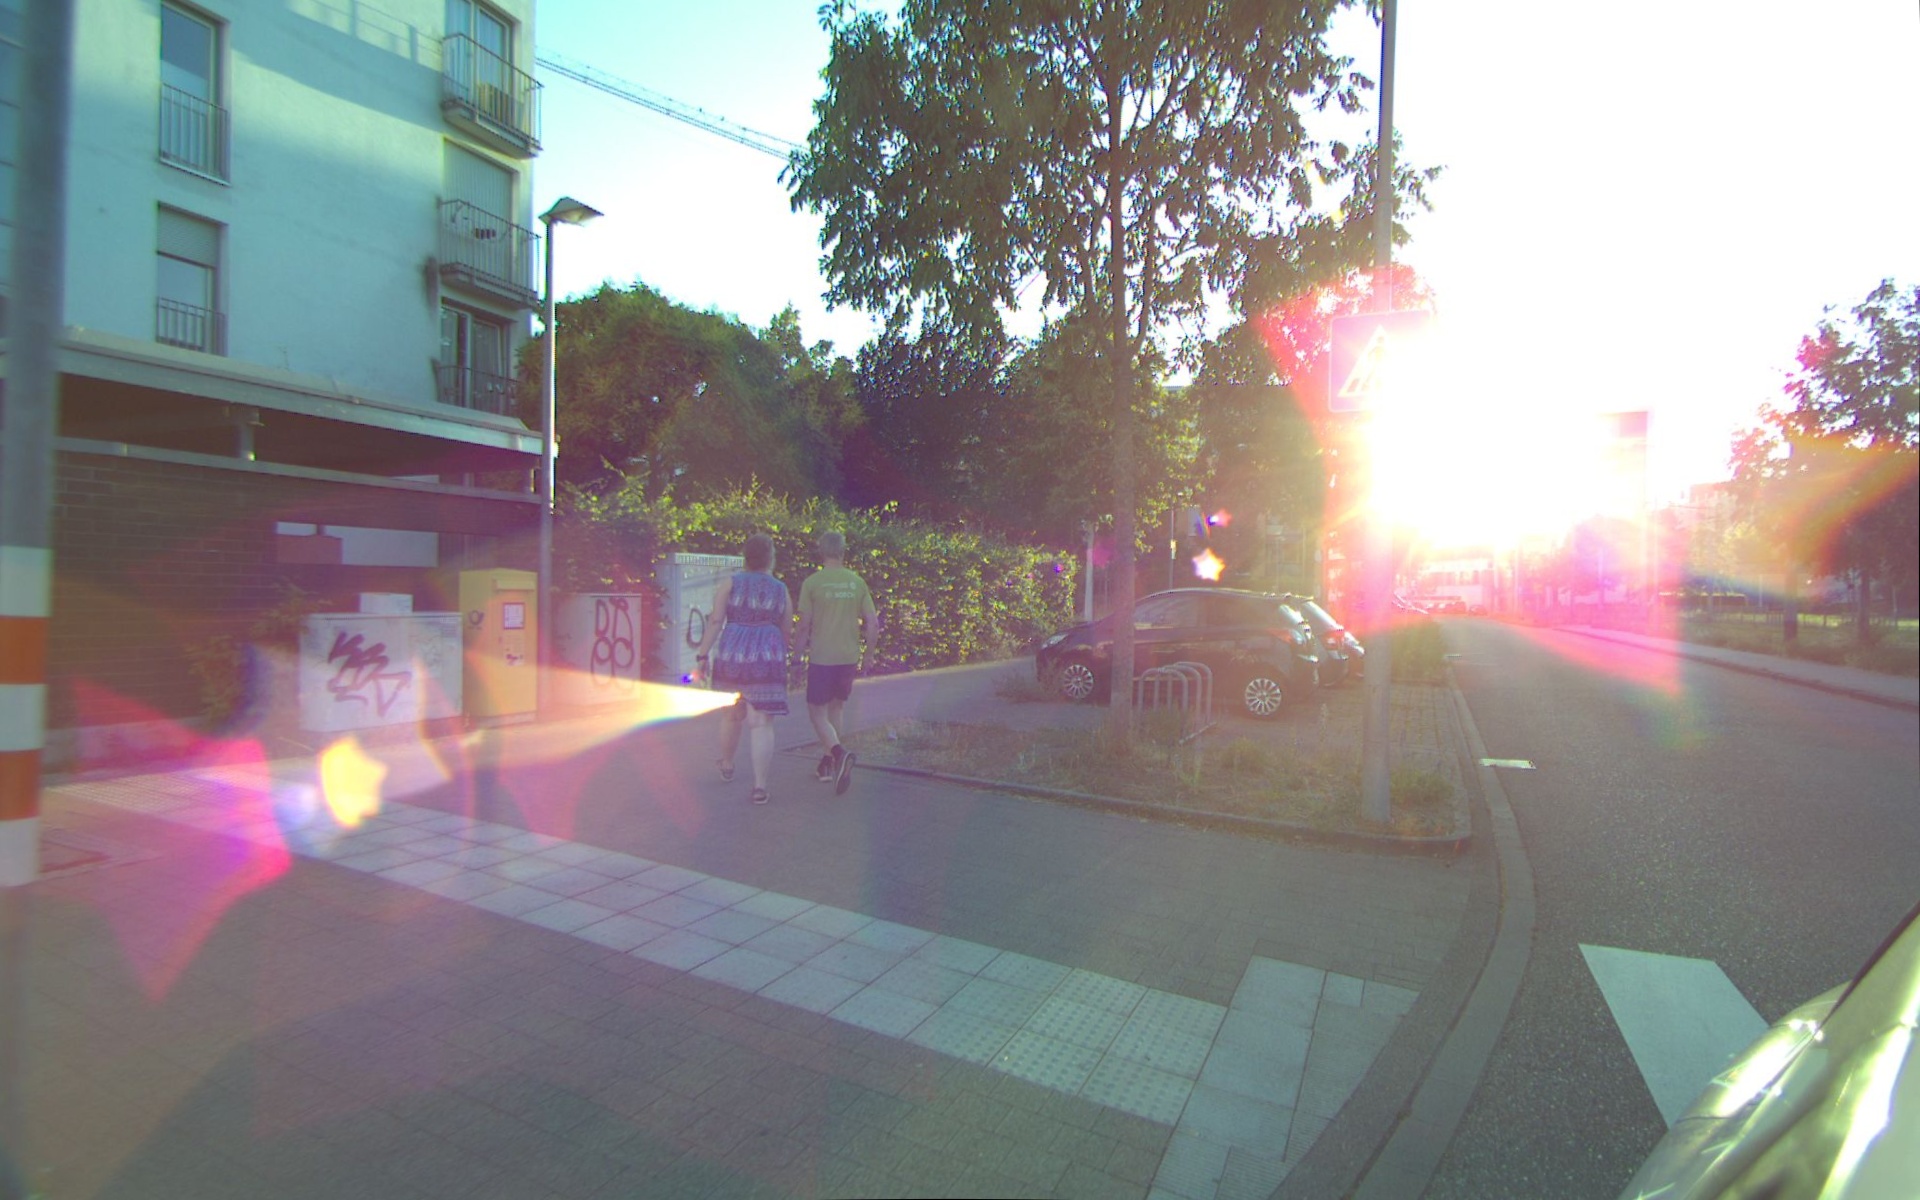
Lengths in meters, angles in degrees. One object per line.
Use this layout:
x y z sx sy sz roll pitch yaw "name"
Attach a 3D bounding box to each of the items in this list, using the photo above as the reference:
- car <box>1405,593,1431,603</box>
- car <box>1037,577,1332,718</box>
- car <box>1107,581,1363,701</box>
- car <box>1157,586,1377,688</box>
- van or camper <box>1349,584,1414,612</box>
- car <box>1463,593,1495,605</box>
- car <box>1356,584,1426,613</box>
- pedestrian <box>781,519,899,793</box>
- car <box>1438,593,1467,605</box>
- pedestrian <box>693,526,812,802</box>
72.465 -0.326 160.159 3.762 1.633 1.639 0 0 23 "car"
2.847 0.504 12.803 3.375 1.541 1.677 1 1 25 "car"
3.996 0.518 14.718 3.375 1.519 1.581 1 1 25 "car"
5.180 0.550 17.092 3.375 1.519 1.581 1 1 25 "car"
27.283 -0.136 65.577 3.833 1.716 1.822 0 0 22 "van or camper"
72.154 -0.077 140.788 3.835 1.633 1.690 0 0 23 "car"
26.559 -0.090 62.459 3.831 1.716 1.692 0 0 20 "car"
-0.806 0.338 6.664 0.611 1.688 0.745 2 1 -15 "pedestrian"
73.376 -0.146 150.695 3.762 1.633 1.639 0 0 23 "car"
-1.318 0.369 6.348 0.643 1.619 0.714 2 1 -15 "pedestrian"
